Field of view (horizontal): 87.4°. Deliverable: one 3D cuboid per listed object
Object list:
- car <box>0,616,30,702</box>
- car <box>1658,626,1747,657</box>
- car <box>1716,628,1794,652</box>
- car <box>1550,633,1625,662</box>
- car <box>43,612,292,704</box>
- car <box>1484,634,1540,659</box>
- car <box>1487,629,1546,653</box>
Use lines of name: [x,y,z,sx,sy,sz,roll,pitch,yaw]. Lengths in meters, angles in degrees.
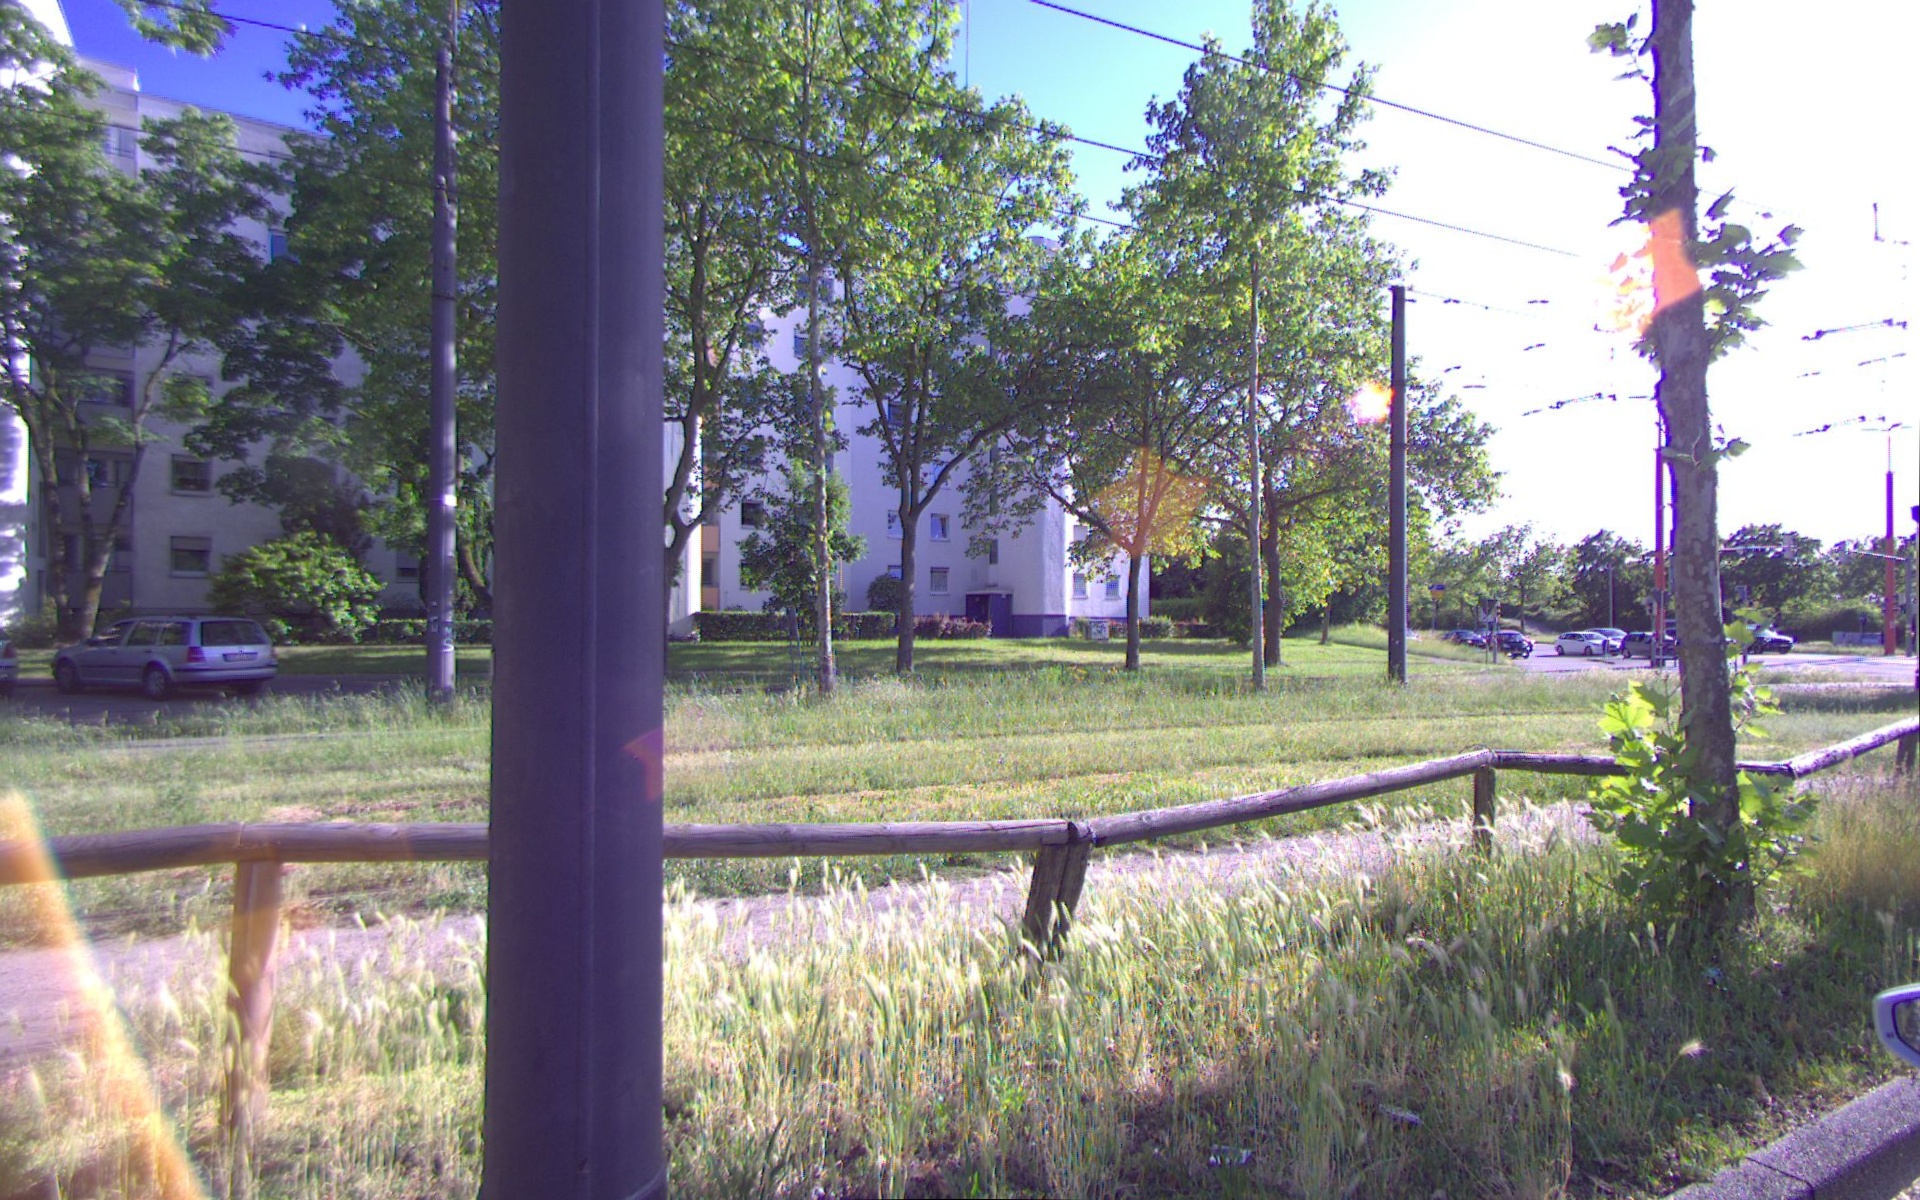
car: [-17.940,0.974,17.092,3.547,1.439,1.576,1,0,18]
car: [42.551,2.344,57.677,1.962,1.666,3.997,1,-1,-5]
car: [48.788,2.427,61.741,1.664,1.347,4.001,1,-1,2]
car: [38.936,2.909,62.459,1.833,1.633,4.185,1,-1,-4]
car: [-14.585,1.009,18.513,3.898,1.462,1.710,1,0,18]
car: [33.139,2.788,60.367,1.769,1.409,2.849,1,-1,0]
car: [38.514,2.837,69.660,1.699,1.533,3.998,1,-1,-4]
